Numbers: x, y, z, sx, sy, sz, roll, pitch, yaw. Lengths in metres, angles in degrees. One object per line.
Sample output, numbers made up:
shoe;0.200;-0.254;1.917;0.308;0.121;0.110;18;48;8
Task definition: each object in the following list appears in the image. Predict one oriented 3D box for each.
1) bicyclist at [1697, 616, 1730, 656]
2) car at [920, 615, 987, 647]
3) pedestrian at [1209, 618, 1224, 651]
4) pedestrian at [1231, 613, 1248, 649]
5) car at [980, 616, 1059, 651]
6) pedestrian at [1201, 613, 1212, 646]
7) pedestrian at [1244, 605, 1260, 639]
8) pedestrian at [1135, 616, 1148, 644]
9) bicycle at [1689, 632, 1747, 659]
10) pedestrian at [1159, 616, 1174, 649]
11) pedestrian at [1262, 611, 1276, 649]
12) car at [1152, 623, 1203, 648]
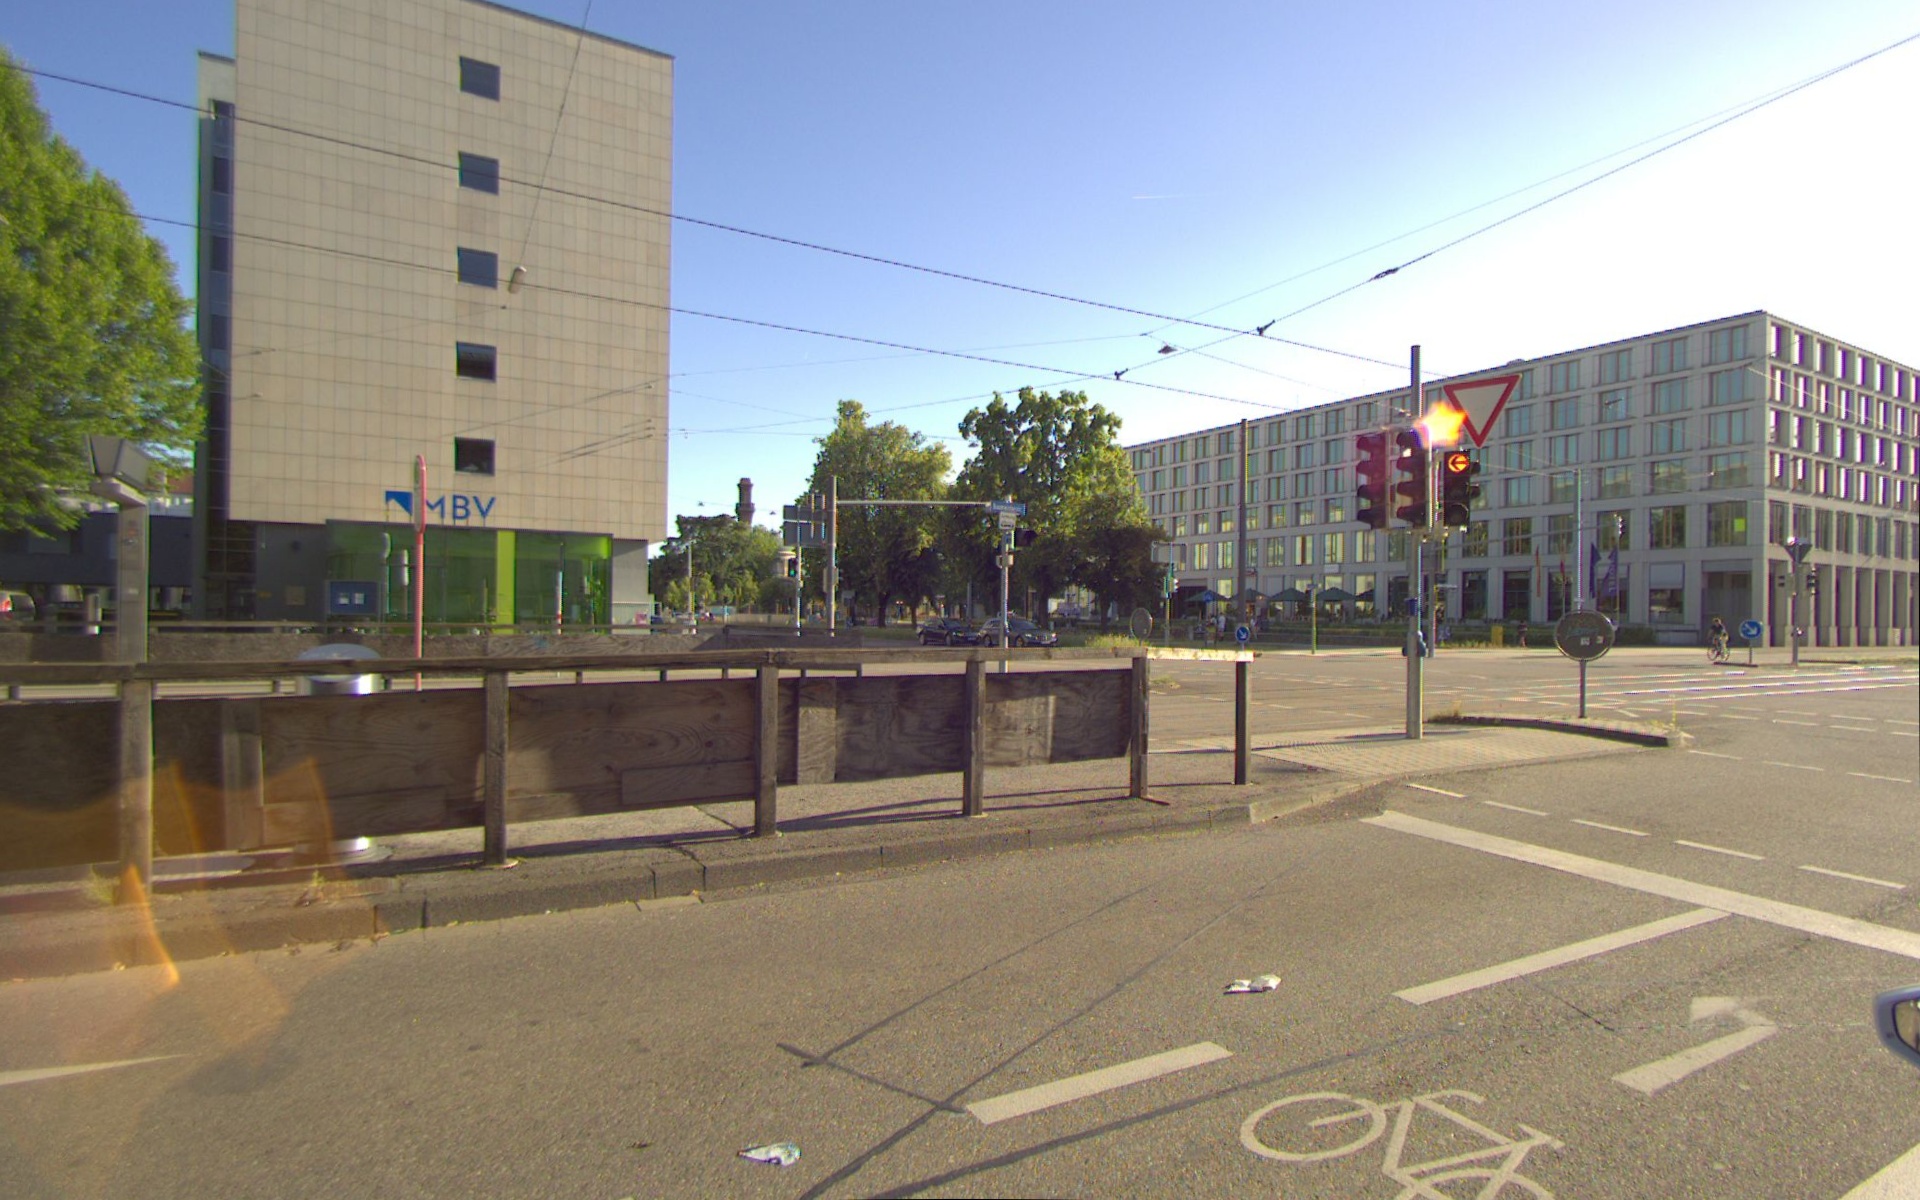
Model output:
bicyclist;31.938;1.514;42.582;0.812;1.663;0.872;1;-1;-29
car;-0.369;1.587;53.249;1.801;1.595;3.967;0;0;-31
pedestrian;15.904;2.118;62.303;0.793;2.040;0.526;1;-1;-36
pedestrian;16.990;1.877;60.973;0.644;2.095;0.645;5;-3;-36
car;2.771;1.557;47.513;1.708;1.595;4.140;1;-1;-31
pedestrian;15.200;1.812;61.957;0.483;2.040;0.493;1;-1;-17
pedestrian;17.909;1.363;61.601;0.793;2.040;0.526;1;-1;-36
pedestrian;12.345;2.036;68.369;0.672;1.928;0.560;1;-1;-21
bicycle;32.393;1.939;42.900;2.976;1.136;0.871;1;-1;-29
pedestrian;12.978;2.038;63.238;0.793;2.040;0.526;1;-1;-36
pedestrian;18.806;1.806;61.145;0.528;2.310;0.565;1;-1;-36
car;13.654;2.219;63.148;1.453;1.457;3.171;1;-1;-29
